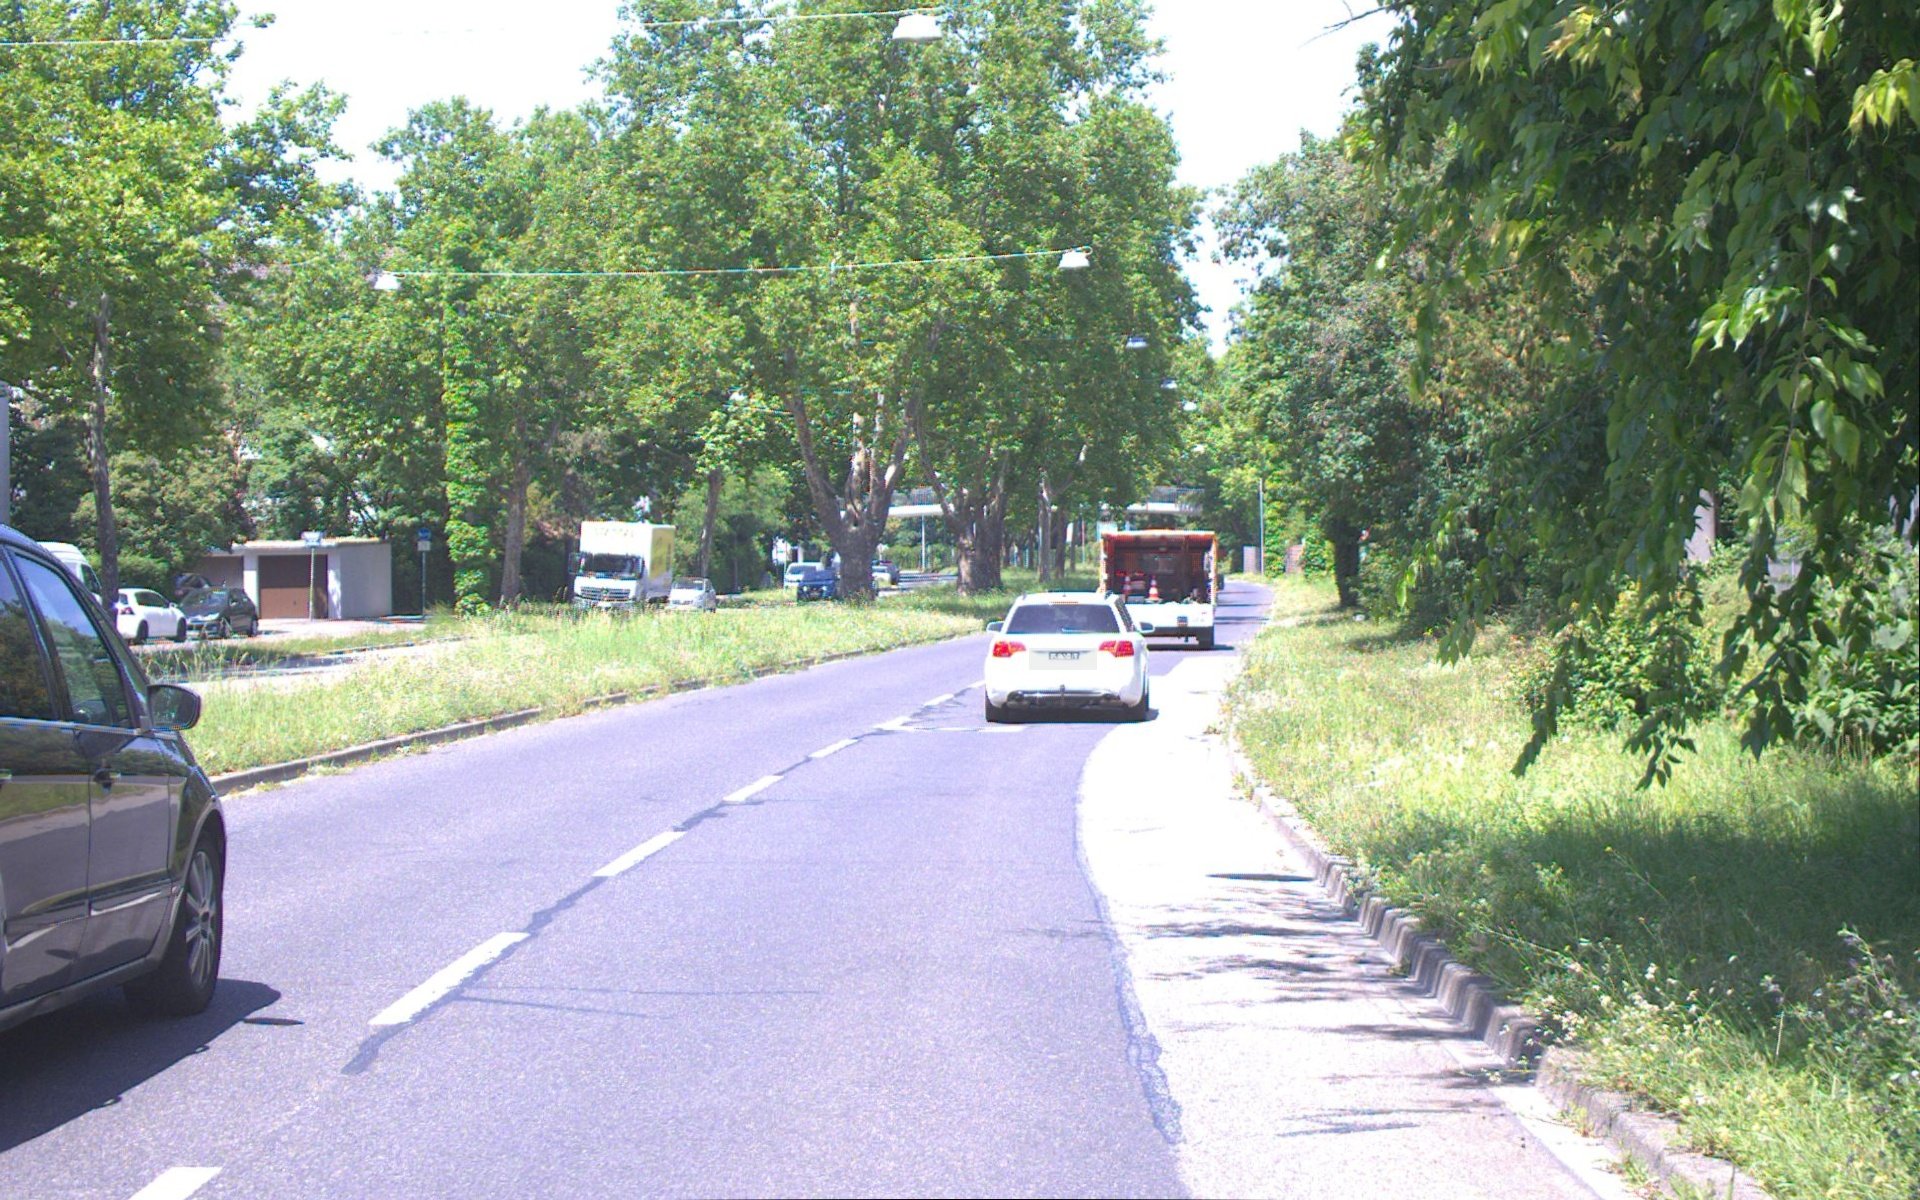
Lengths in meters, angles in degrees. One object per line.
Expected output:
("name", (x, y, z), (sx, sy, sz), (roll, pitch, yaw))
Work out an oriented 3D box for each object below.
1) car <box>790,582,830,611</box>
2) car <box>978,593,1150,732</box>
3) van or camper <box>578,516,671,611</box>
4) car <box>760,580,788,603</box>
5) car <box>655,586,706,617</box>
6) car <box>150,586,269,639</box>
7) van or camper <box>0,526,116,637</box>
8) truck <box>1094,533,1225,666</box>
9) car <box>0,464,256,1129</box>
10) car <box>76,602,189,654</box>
("car", (-6.911, -0.169, 158.391), (1.771, 1.327, 3.660), (0, 0, -3))
("car", (1.207, 0.664, 38.467), (1.763, 1.440, 3.615), (1, 0, 4))
("van or camper", (-12.027, -1.303, 123.662), (2.661, 3.320, 5.500), (-1, 1, 1))
("car", (-9.797, -0.446, 181.474), (1.459, 1.206, 3.427), (0, 0, -3))
("car", (-11.265, 0.057, 138.703), (1.914, 1.206, 4.335), (0, 0, -3))
("car", (-20.778, 0.336, 95.322), (1.829, 1.386, 3.945), (-1, 1, 10))
("van or camper", (-22.515, -0.460, 83.278), (2.183, 2.578, 5.307), (-1, 1, 7))
("truck", (4.116, -0.086, 70.917), (2.511, 2.551, 7.603), (1, 1, 3))
("car", (-3.444, 0.508, 9.884), (1.854, 1.749, 4.649), (0, 1, 0))
("car", (-21.533, 0.711, 89.561), (1.693, 1.279, 3.802), (0, 1, 6))
